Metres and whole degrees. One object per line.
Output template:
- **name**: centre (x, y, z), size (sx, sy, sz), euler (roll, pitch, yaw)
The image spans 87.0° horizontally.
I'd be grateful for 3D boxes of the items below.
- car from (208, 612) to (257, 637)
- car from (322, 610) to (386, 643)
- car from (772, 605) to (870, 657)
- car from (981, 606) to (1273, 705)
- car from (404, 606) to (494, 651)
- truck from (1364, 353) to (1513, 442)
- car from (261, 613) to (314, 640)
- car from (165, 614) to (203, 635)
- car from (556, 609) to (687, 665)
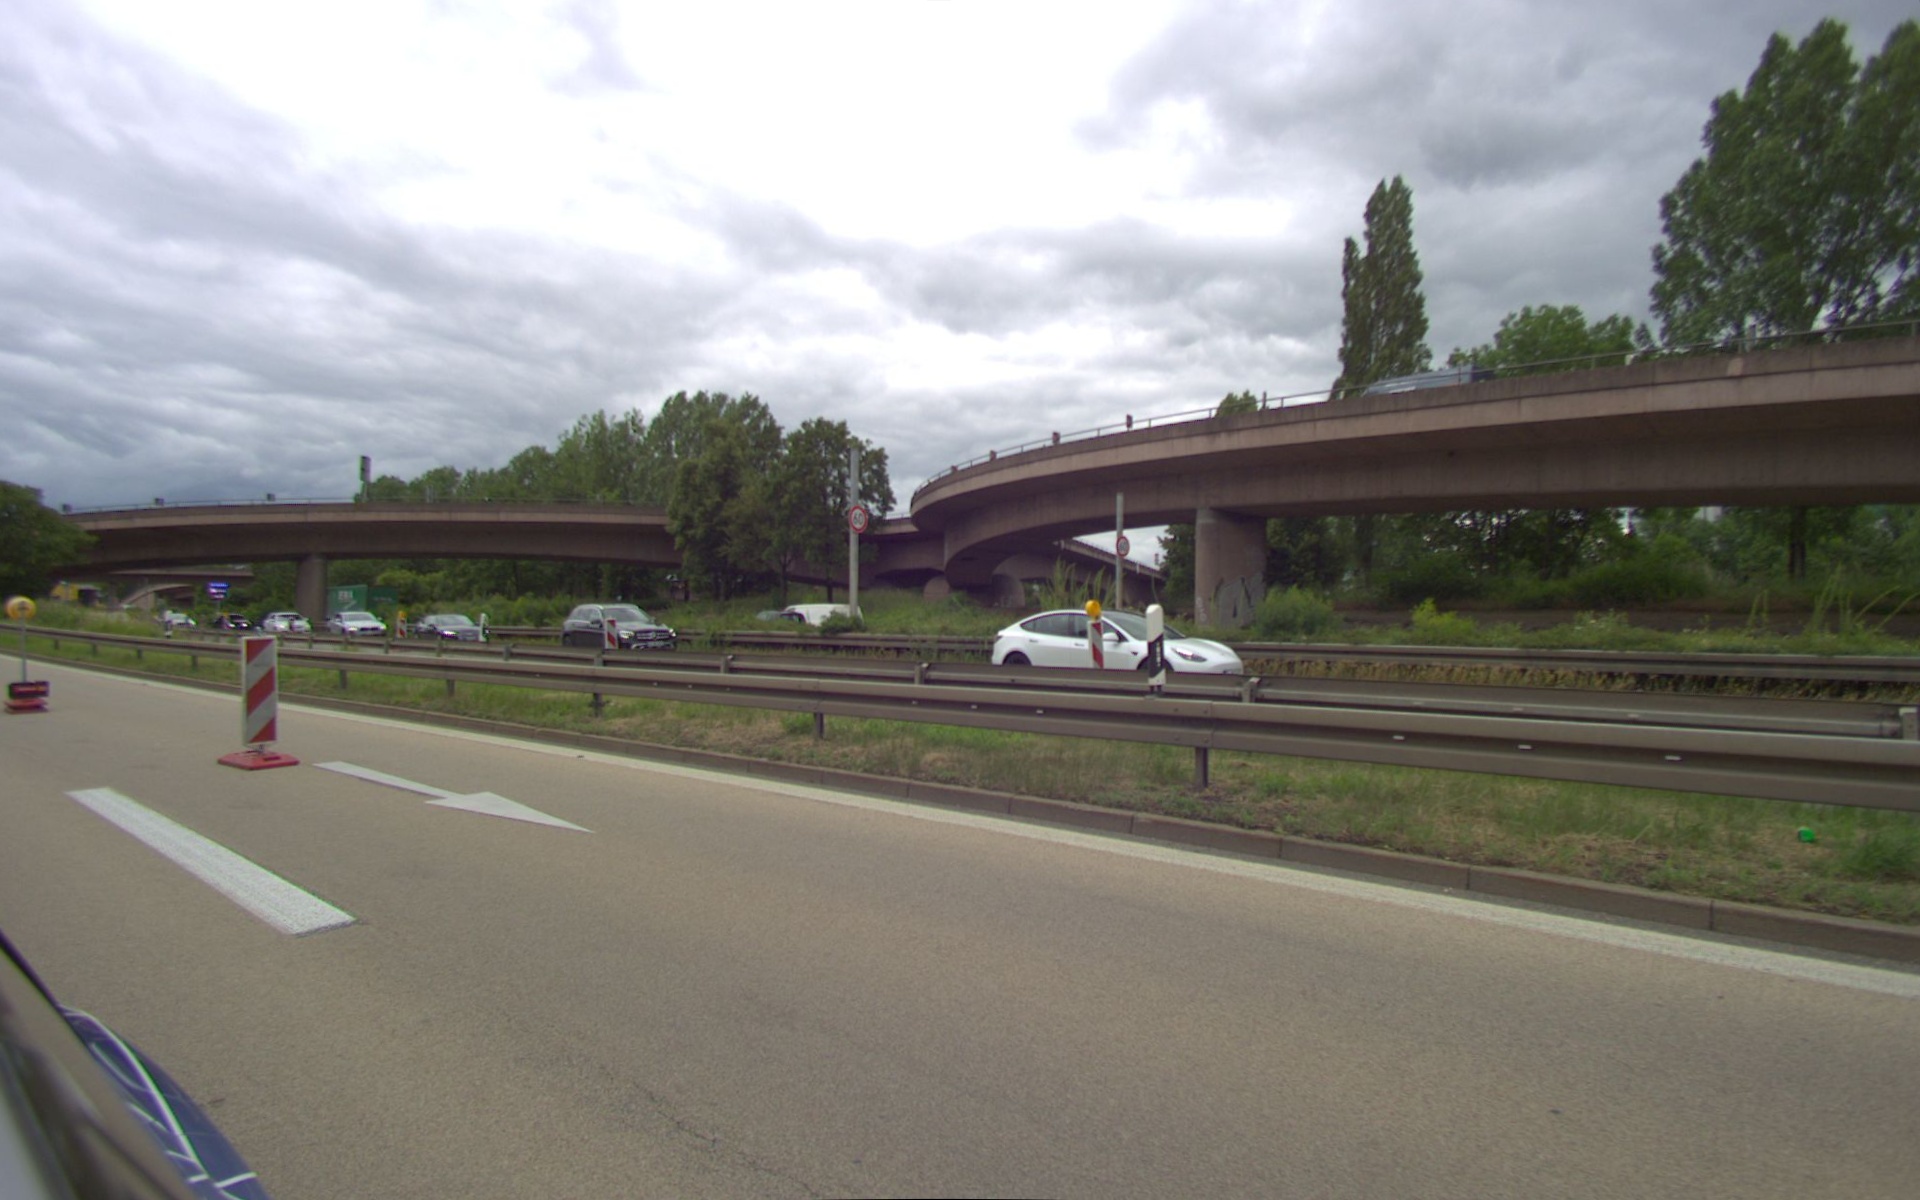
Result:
- **car**: centre (-47.275, 1.572, 65.730), size (1.970, 1.606, 4.295), euler (2, -2, -44)
- **car**: centre (-29.849, 1.297, 49.803), size (1.777, 1.523, 4.002), euler (2, -1, -45)
- **car**: centre (-5.682, 1.248, 41.255), size (1.970, 2.018, 4.003), euler (2, -2, -44)
- **car**: centre (2.694, 0.838, 17.144), size (1.951, 1.424, 4.602), euler (0, 0, -45)
- **car**: centre (-20.842, 1.144, 41.202), size (3.998, 1.716, 1.910), euler (-1, -2, 41)
- **truck**: centre (15.758, -6.608, 33.478), size (1.966, 2.029, 4.011), euler (-1, 0, -33)
- **car**: centre (-41.434, 1.619, 62.340), size (1.970, 1.606, 4.003), euler (2, -2, -44)
- **car**: centre (-63.241, 1.986, 82.443), size (1.970, 1.606, 4.295), euler (2, -2, -44)
- **car**: centre (-10.041, 1.034, 29.843), size (4.294, 1.522, 1.953), euler (-1, 0, 45)
